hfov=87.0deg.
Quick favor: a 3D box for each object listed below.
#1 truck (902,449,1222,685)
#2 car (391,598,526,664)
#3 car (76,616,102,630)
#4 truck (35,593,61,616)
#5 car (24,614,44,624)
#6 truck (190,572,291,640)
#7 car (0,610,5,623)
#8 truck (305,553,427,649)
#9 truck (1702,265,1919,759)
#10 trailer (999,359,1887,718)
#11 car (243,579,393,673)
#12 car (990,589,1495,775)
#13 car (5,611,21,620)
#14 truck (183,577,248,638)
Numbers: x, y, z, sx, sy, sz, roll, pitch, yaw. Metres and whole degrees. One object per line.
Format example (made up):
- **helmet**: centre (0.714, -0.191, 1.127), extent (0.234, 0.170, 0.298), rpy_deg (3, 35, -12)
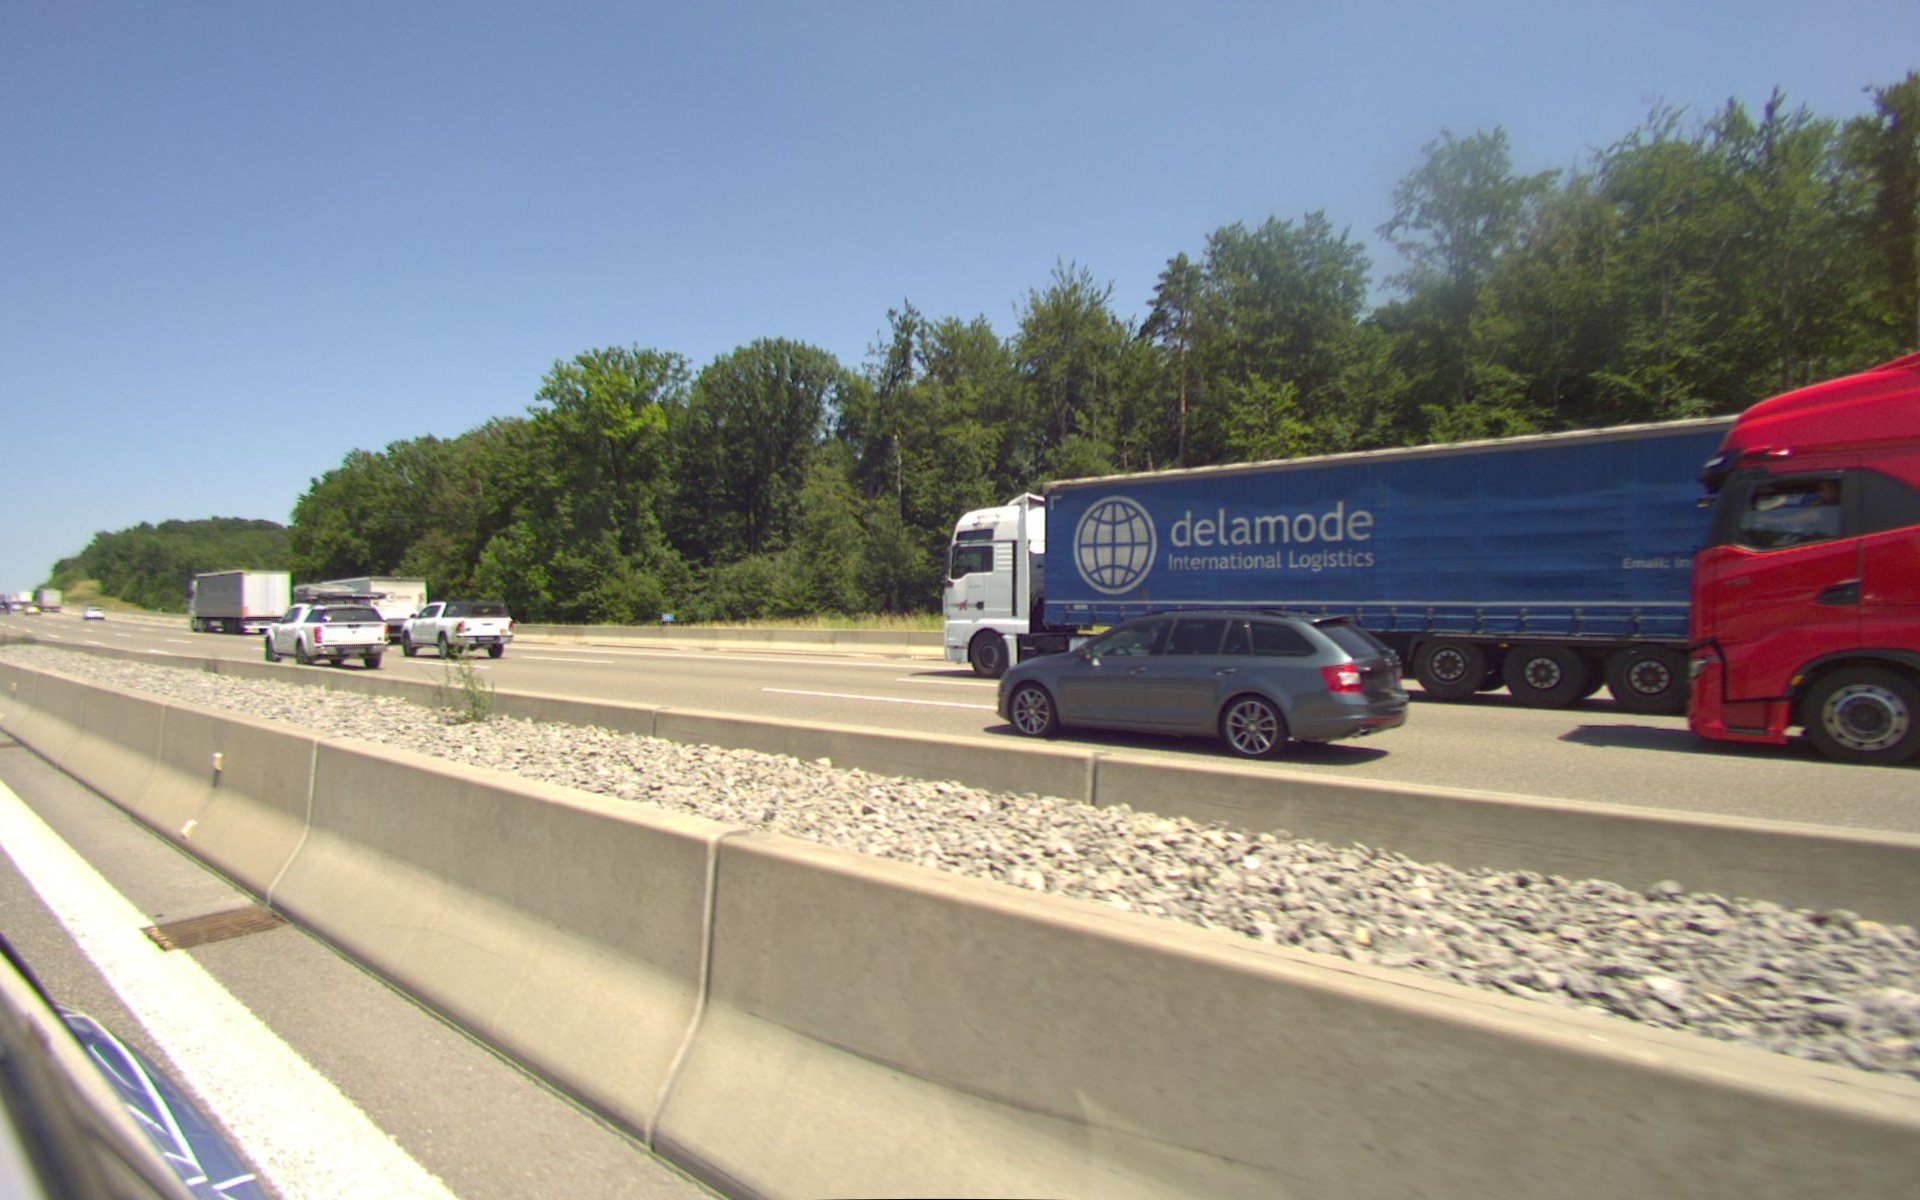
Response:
- **truck**: centre (2.019, -0.544, 21.911), extent (6.600, 4.384, 2.475), rpy_deg (-2, -1, 40)
- **car**: centre (-16.479, 0.963, 33.101), extent (5.736, 1.985, 1.972), rpy_deg (-1, -1, 42)
- **car**: centre (-104.553, 2.735, 121.450), extent (4.814, 1.491, 1.852), rpy_deg (0, 1, 44)
- **truck**: centre (-164.708, 0.773, 182.645), extent (14.303, 4.056, 2.660), rpy_deg (0, 0, 44)
- **car**: centre (-139.530, 2.860, 152.439), extent (4.814, 1.546, 1.852), rpy_deg (0, 0, 44)
- **truck**: centre (-48.841, 0.473, 68.419), extent (14.508, 4.209, 2.727), rpy_deg (-1, -1, 43)
- **car**: centre (-150.717, 2.632, 158.143), extent (5.776, 1.954, 1.852), rpy_deg (0, 0, 44)
- **truck**: centre (-28.803, 0.099, 48.852), extent (9.620, 4.209, 2.503), rpy_deg (-1, -1, 43)
- **truck**: centre (10.671, -0.831, 8.738), extent (6.602, 4.384, 2.475), rpy_deg (-2, -1, 41)
- **trailer**: centre (6.842, -0.592, 17.767), extent (13.689, 4.384, 2.475), rpy_deg (-2, -1, 41)
- **car**: centre (-17.564, 0.687, 27.551), extent (5.763, 2.306, 1.972), rpy_deg (-1, -1, 42)
- **car**: centre (2.820, 0.724, 10.899), extent (4.880, 1.560, 1.972), rpy_deg (-1, -1, 42)
- **car**: centre (-176.473, 2.829, 188.547), extent (4.137, 1.546, 1.852), rpy_deg (0, 3, 44)
- **truck**: centre (-53.753, 0.568, 73.024), extent (6.231, 4.209, 2.653), rpy_deg (-1, -1, 43)
